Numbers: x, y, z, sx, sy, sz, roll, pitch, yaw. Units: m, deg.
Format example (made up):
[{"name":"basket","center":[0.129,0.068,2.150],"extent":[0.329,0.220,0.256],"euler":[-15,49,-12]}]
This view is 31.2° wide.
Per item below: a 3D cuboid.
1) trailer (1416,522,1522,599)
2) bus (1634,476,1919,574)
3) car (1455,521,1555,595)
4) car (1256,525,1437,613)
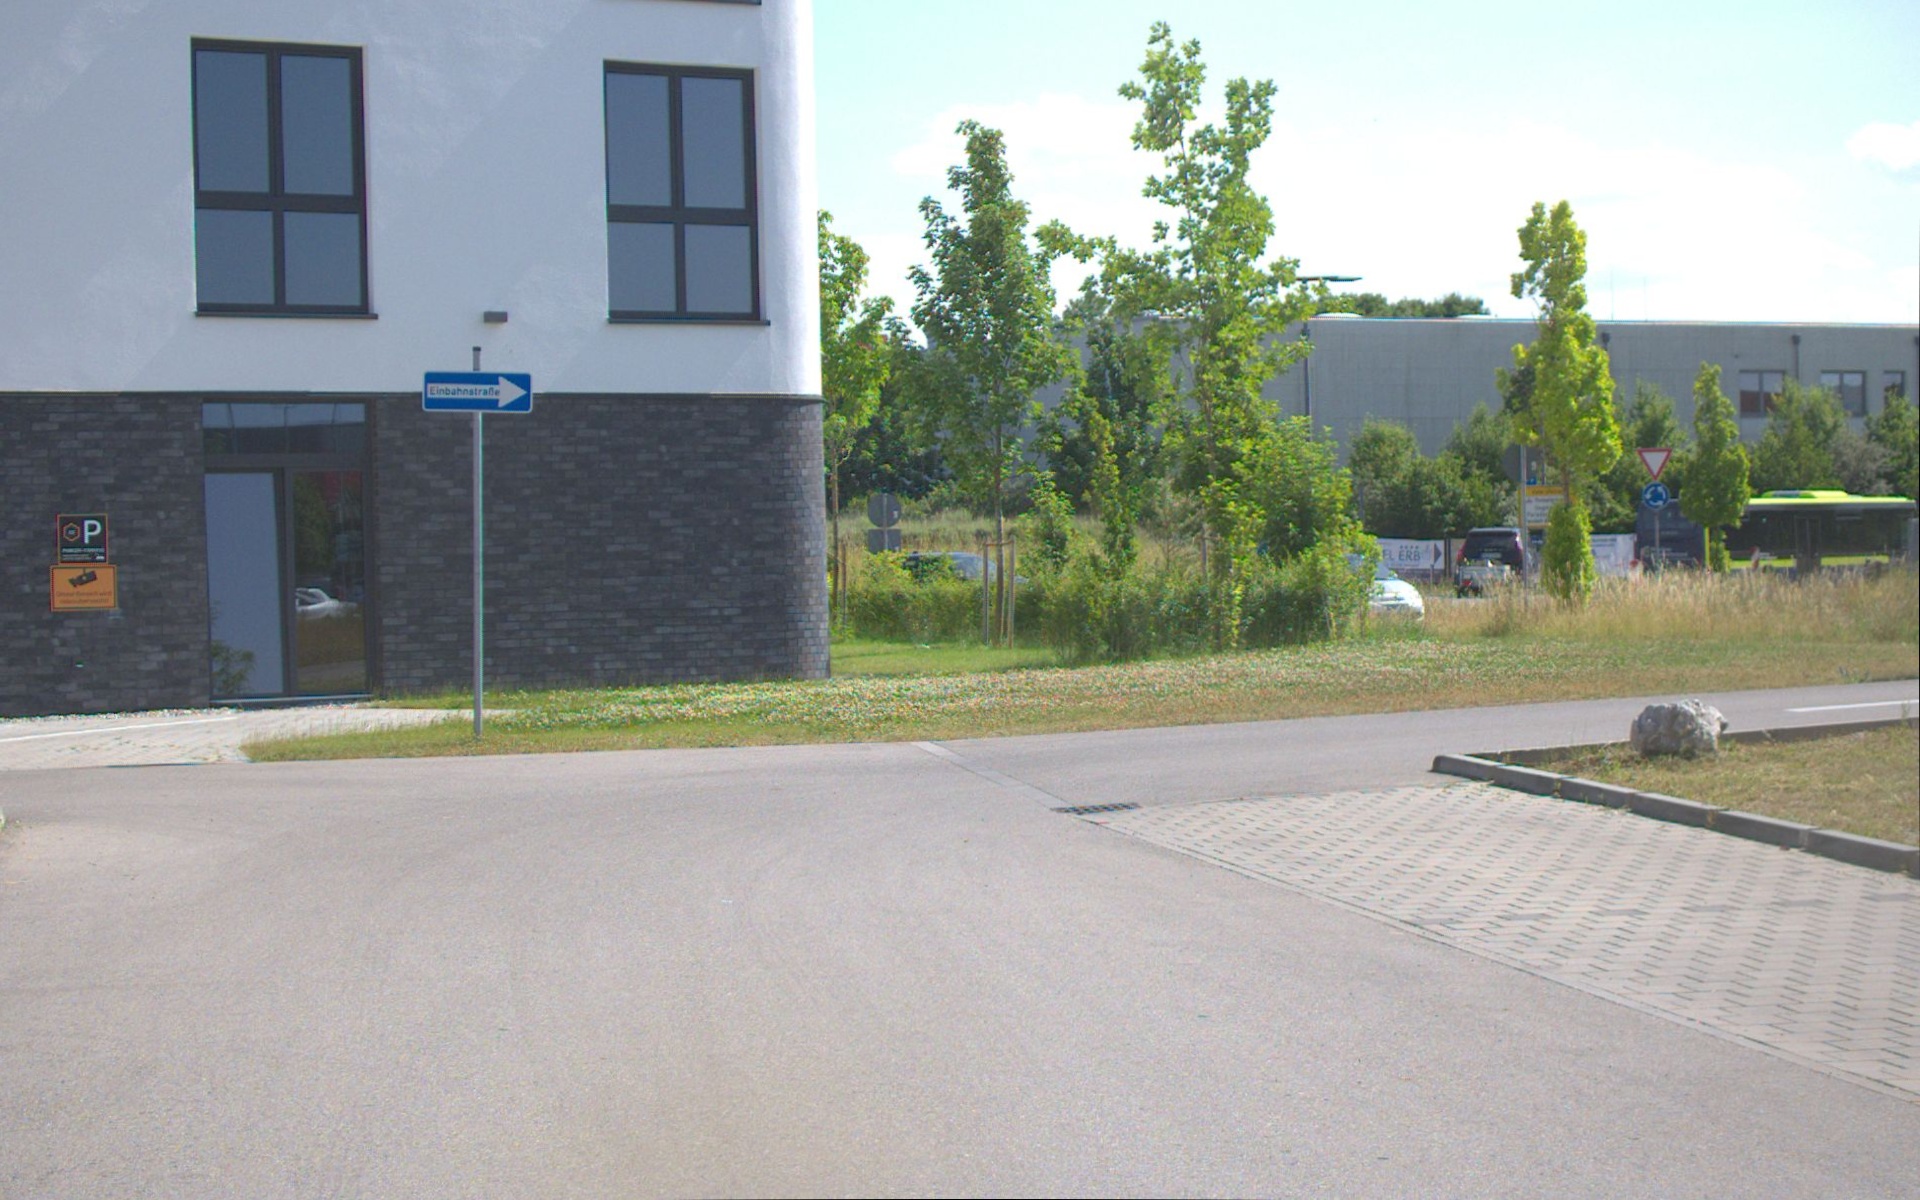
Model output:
[{"name":"trailer","center":[12.591,-1.000,84.932],"extent":[1.824,1.853,3.996],"euler":[0,1,20]},{"name":"bus","center":[25.076,-2.334,104.935],"extent":[11.538,2.726,2.579],"euler":[-3,2,-43]},{"name":"car","center":[14.063,-1.091,88.570],"extent":[1.824,1.853,3.996],"euler":[0,1,20]},{"name":"car","center":[6.982,-0.585,62.409],"extent":[1.735,1.546,3.784],"euler":[-1,1,-21]}]
